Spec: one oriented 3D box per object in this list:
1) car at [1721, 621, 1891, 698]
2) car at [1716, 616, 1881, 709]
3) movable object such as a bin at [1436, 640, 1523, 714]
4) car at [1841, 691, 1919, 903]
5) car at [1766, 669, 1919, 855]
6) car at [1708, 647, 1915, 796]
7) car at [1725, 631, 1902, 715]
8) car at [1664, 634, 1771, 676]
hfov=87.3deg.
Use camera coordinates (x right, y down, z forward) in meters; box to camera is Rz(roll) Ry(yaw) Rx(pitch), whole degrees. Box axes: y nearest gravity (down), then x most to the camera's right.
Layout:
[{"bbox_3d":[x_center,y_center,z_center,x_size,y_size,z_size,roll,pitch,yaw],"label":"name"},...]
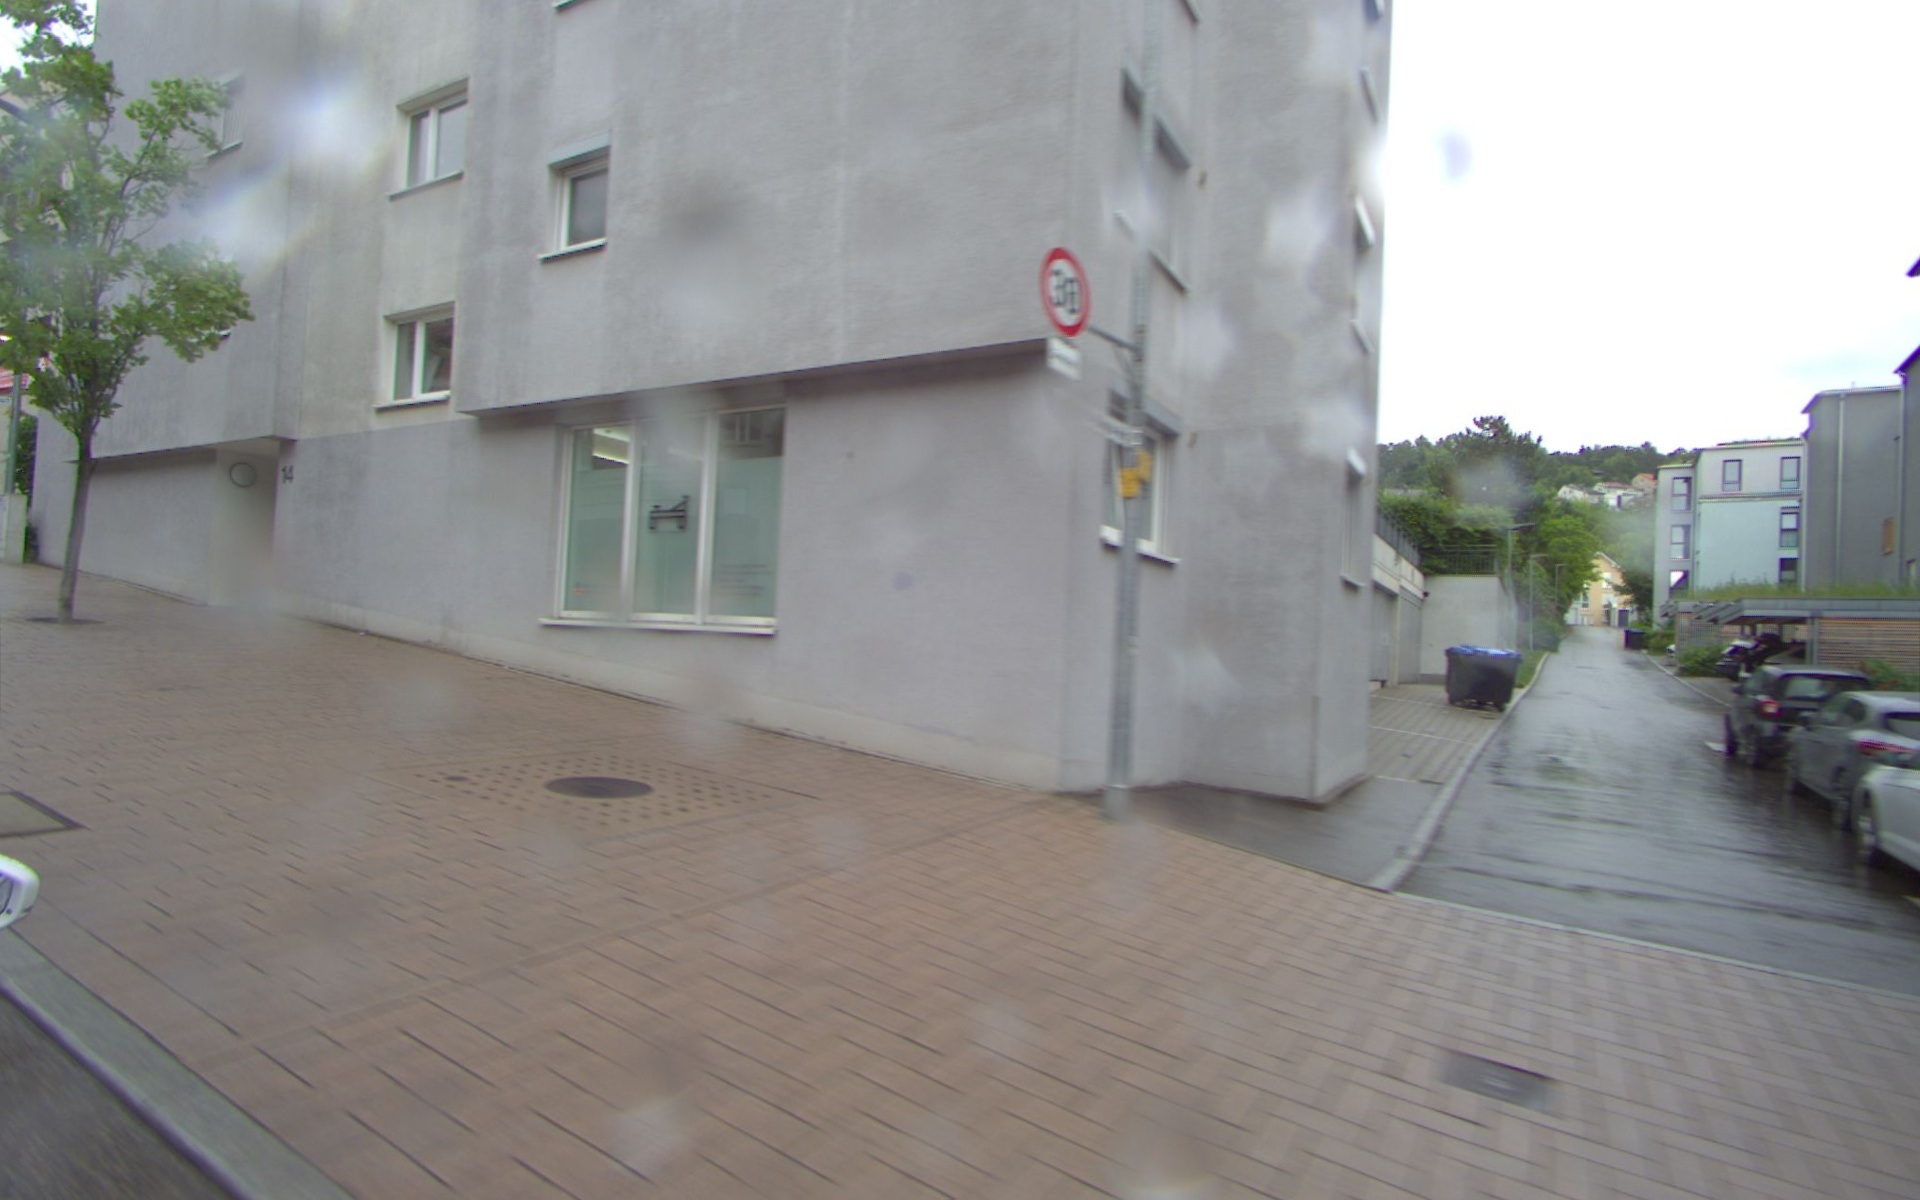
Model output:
[{"bbox_3d":[28.449,1.994,34.034,4.070,2.038,1.823,7,0,36],"label":"car"},{"bbox_3d":[25.136,1.874,30.302,3.417,2.313,1.520,7,-1,32],"label":"car"},{"bbox_3d":[11.391,1.684,22.105,1.079,1.381,1.122,7,3,-8],"label":"movable object such as a bin"},{"bbox_3d":[8.245,1.631,7.481,1.714,1.473,3.763,5,2,30],"label":"car"},{"bbox_3d":[10.718,1.783,11.470,1.675,1.564,3.762,7,3,30],"label":"car"},{"bbox_3d":[13.285,1.777,15.947,1.675,1.730,3.762,7,3,30],"label":"car"},{"bbox_3d":[23.837,2.037,28.262,3.417,1.840,1.520,7,-1,32],"label":"car"},{"bbox_3d":[34.122,2.470,45.445,3.677,1.368,1.543,7,0,36],"label":"car"}]
